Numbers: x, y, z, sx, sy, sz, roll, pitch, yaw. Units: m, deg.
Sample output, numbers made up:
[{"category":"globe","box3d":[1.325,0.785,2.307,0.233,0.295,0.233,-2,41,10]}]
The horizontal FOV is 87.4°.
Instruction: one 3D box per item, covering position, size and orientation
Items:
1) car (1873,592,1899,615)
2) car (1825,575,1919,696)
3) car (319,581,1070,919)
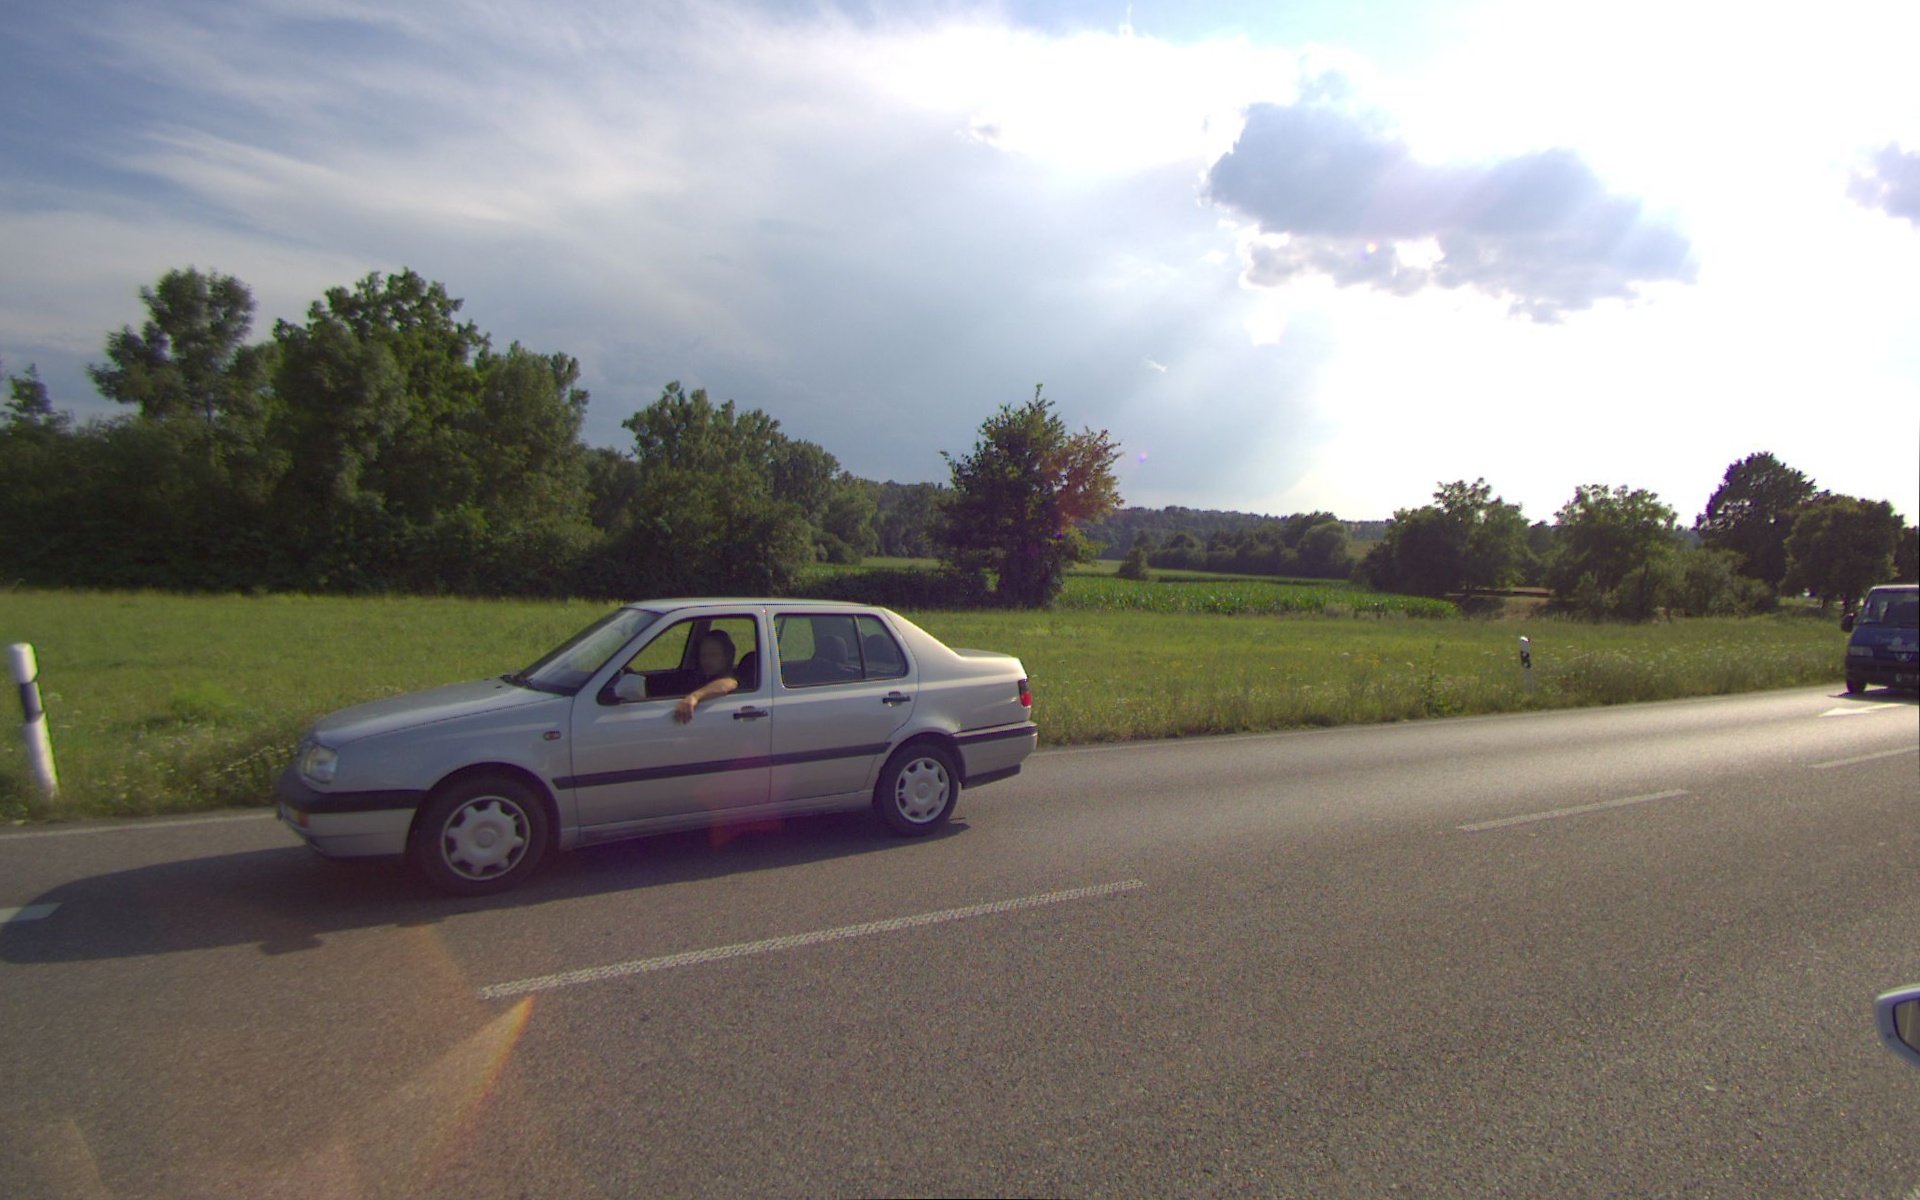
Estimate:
[{"category":"car","box3d":[115.884,0.431,125.740,1.631,2.749,3.465,3,2,32]},{"category":"car","box3d":[18.971,0.674,19.612,4.730,2.165,1.985,1,1,-34]},{"category":"car","box3d":[-1.467,0.663,6.163,4.134,1.447,1.696,1,0,-34]}]
